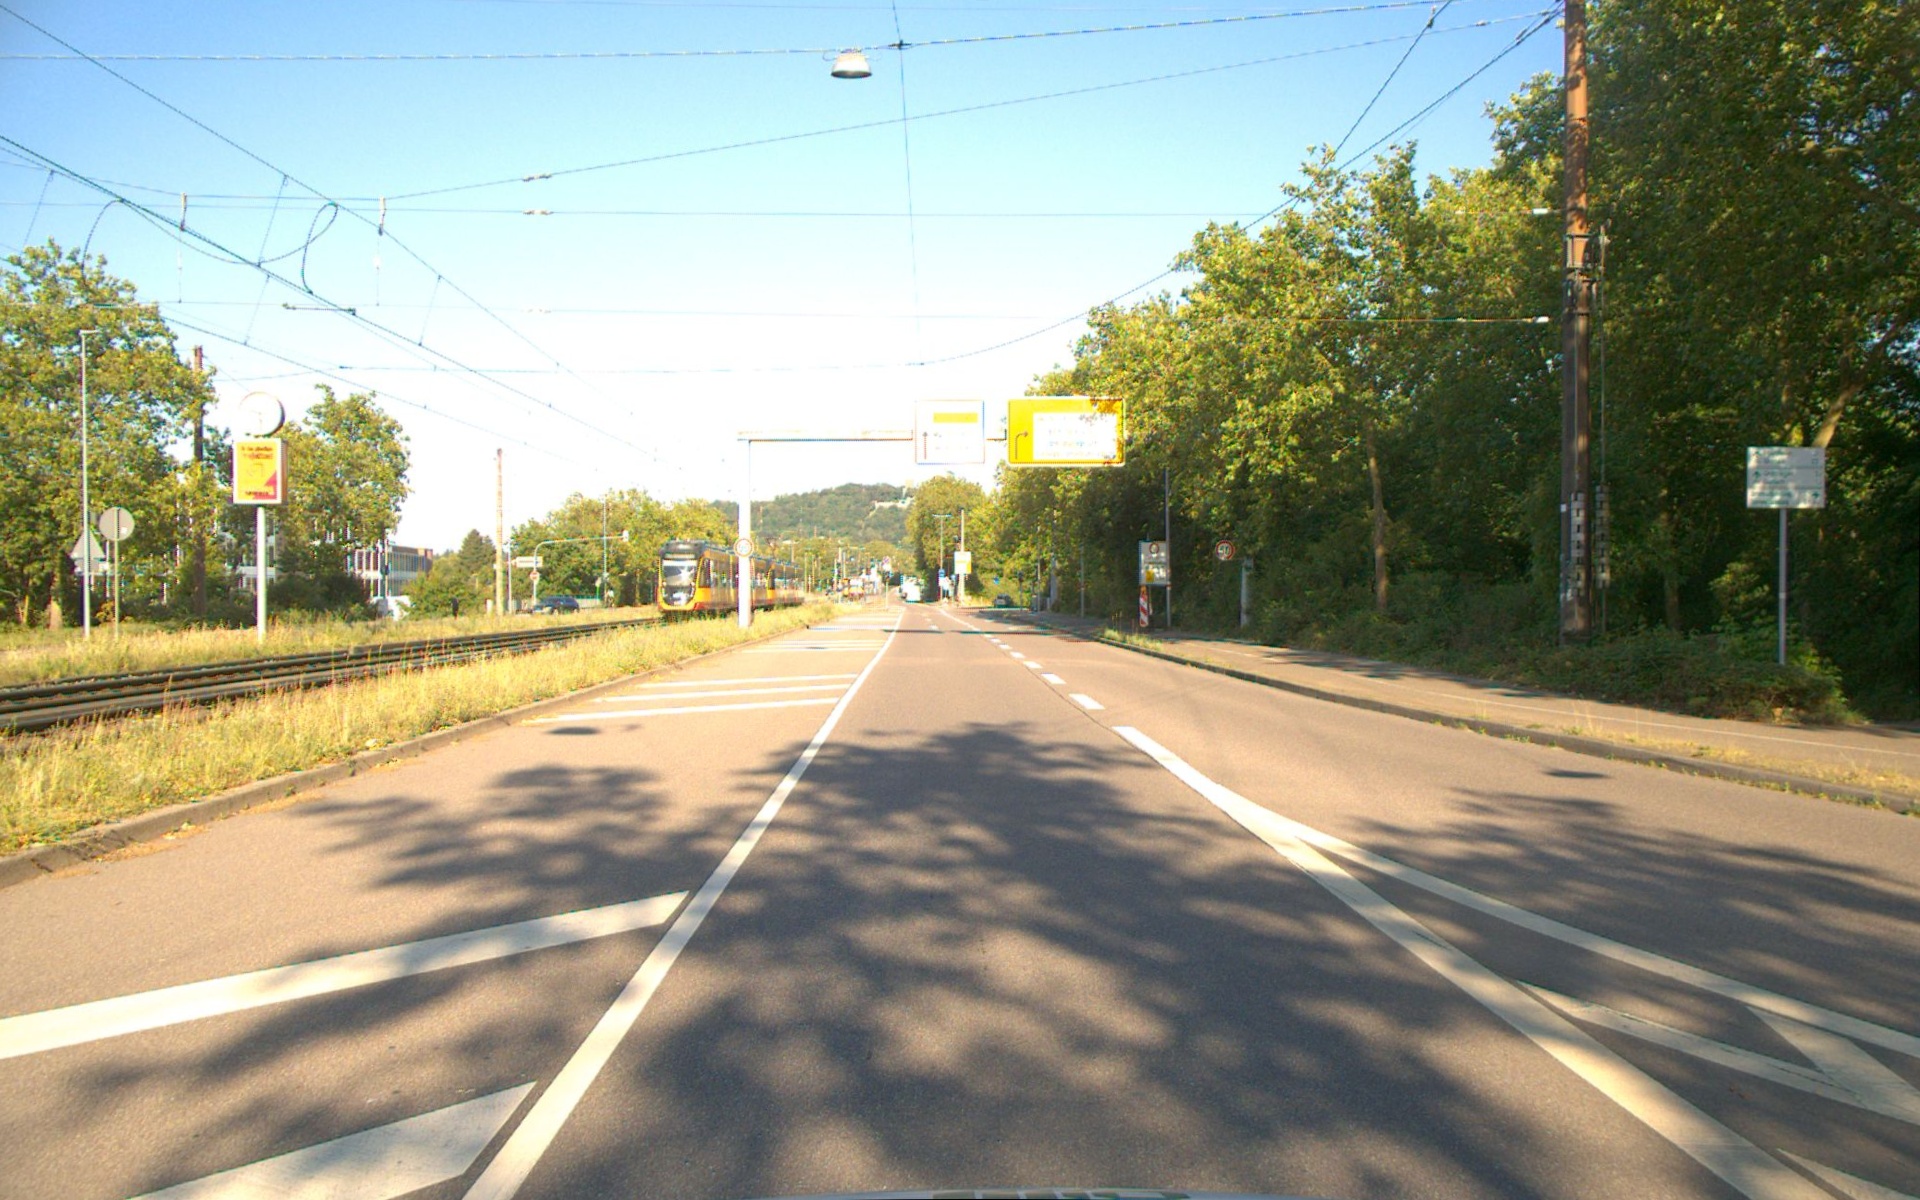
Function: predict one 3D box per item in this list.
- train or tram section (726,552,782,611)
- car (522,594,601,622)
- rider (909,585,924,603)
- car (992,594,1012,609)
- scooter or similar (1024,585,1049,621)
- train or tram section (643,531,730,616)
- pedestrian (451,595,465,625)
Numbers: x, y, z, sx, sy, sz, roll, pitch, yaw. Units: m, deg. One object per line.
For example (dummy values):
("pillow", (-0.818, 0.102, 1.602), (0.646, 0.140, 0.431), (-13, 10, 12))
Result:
("train or tram section", (-14.881, -1.280, 120.343), (2.767, 4.019, 12.702), (1, 0, -2))
("car", (-27.603, 0.546, 114.603), (5.063, 1.846, 1.930), (1, 0, -29))
("rider", (-6.422, -0.856, 245.125), (2.064, 2.693, 0.737), (0, 0, 3))
("car", (4.758, 0.194, 187.711), (2.042, 1.593, 3.957), (1, 0, 4))
("scooter or similar", (6.021, 0.256, 130.459), (1.647, 2.763, 4.867), (1, 0, -1))
("train or tram section", (-13.735, -1.250, 84.053), (2.748, 3.971, 12.327), (1, 0, -2))
("pedestrian", (-31.621, 0.643, 104.270), (0.529, 1.853, 0.651), (1, 0, 20))
